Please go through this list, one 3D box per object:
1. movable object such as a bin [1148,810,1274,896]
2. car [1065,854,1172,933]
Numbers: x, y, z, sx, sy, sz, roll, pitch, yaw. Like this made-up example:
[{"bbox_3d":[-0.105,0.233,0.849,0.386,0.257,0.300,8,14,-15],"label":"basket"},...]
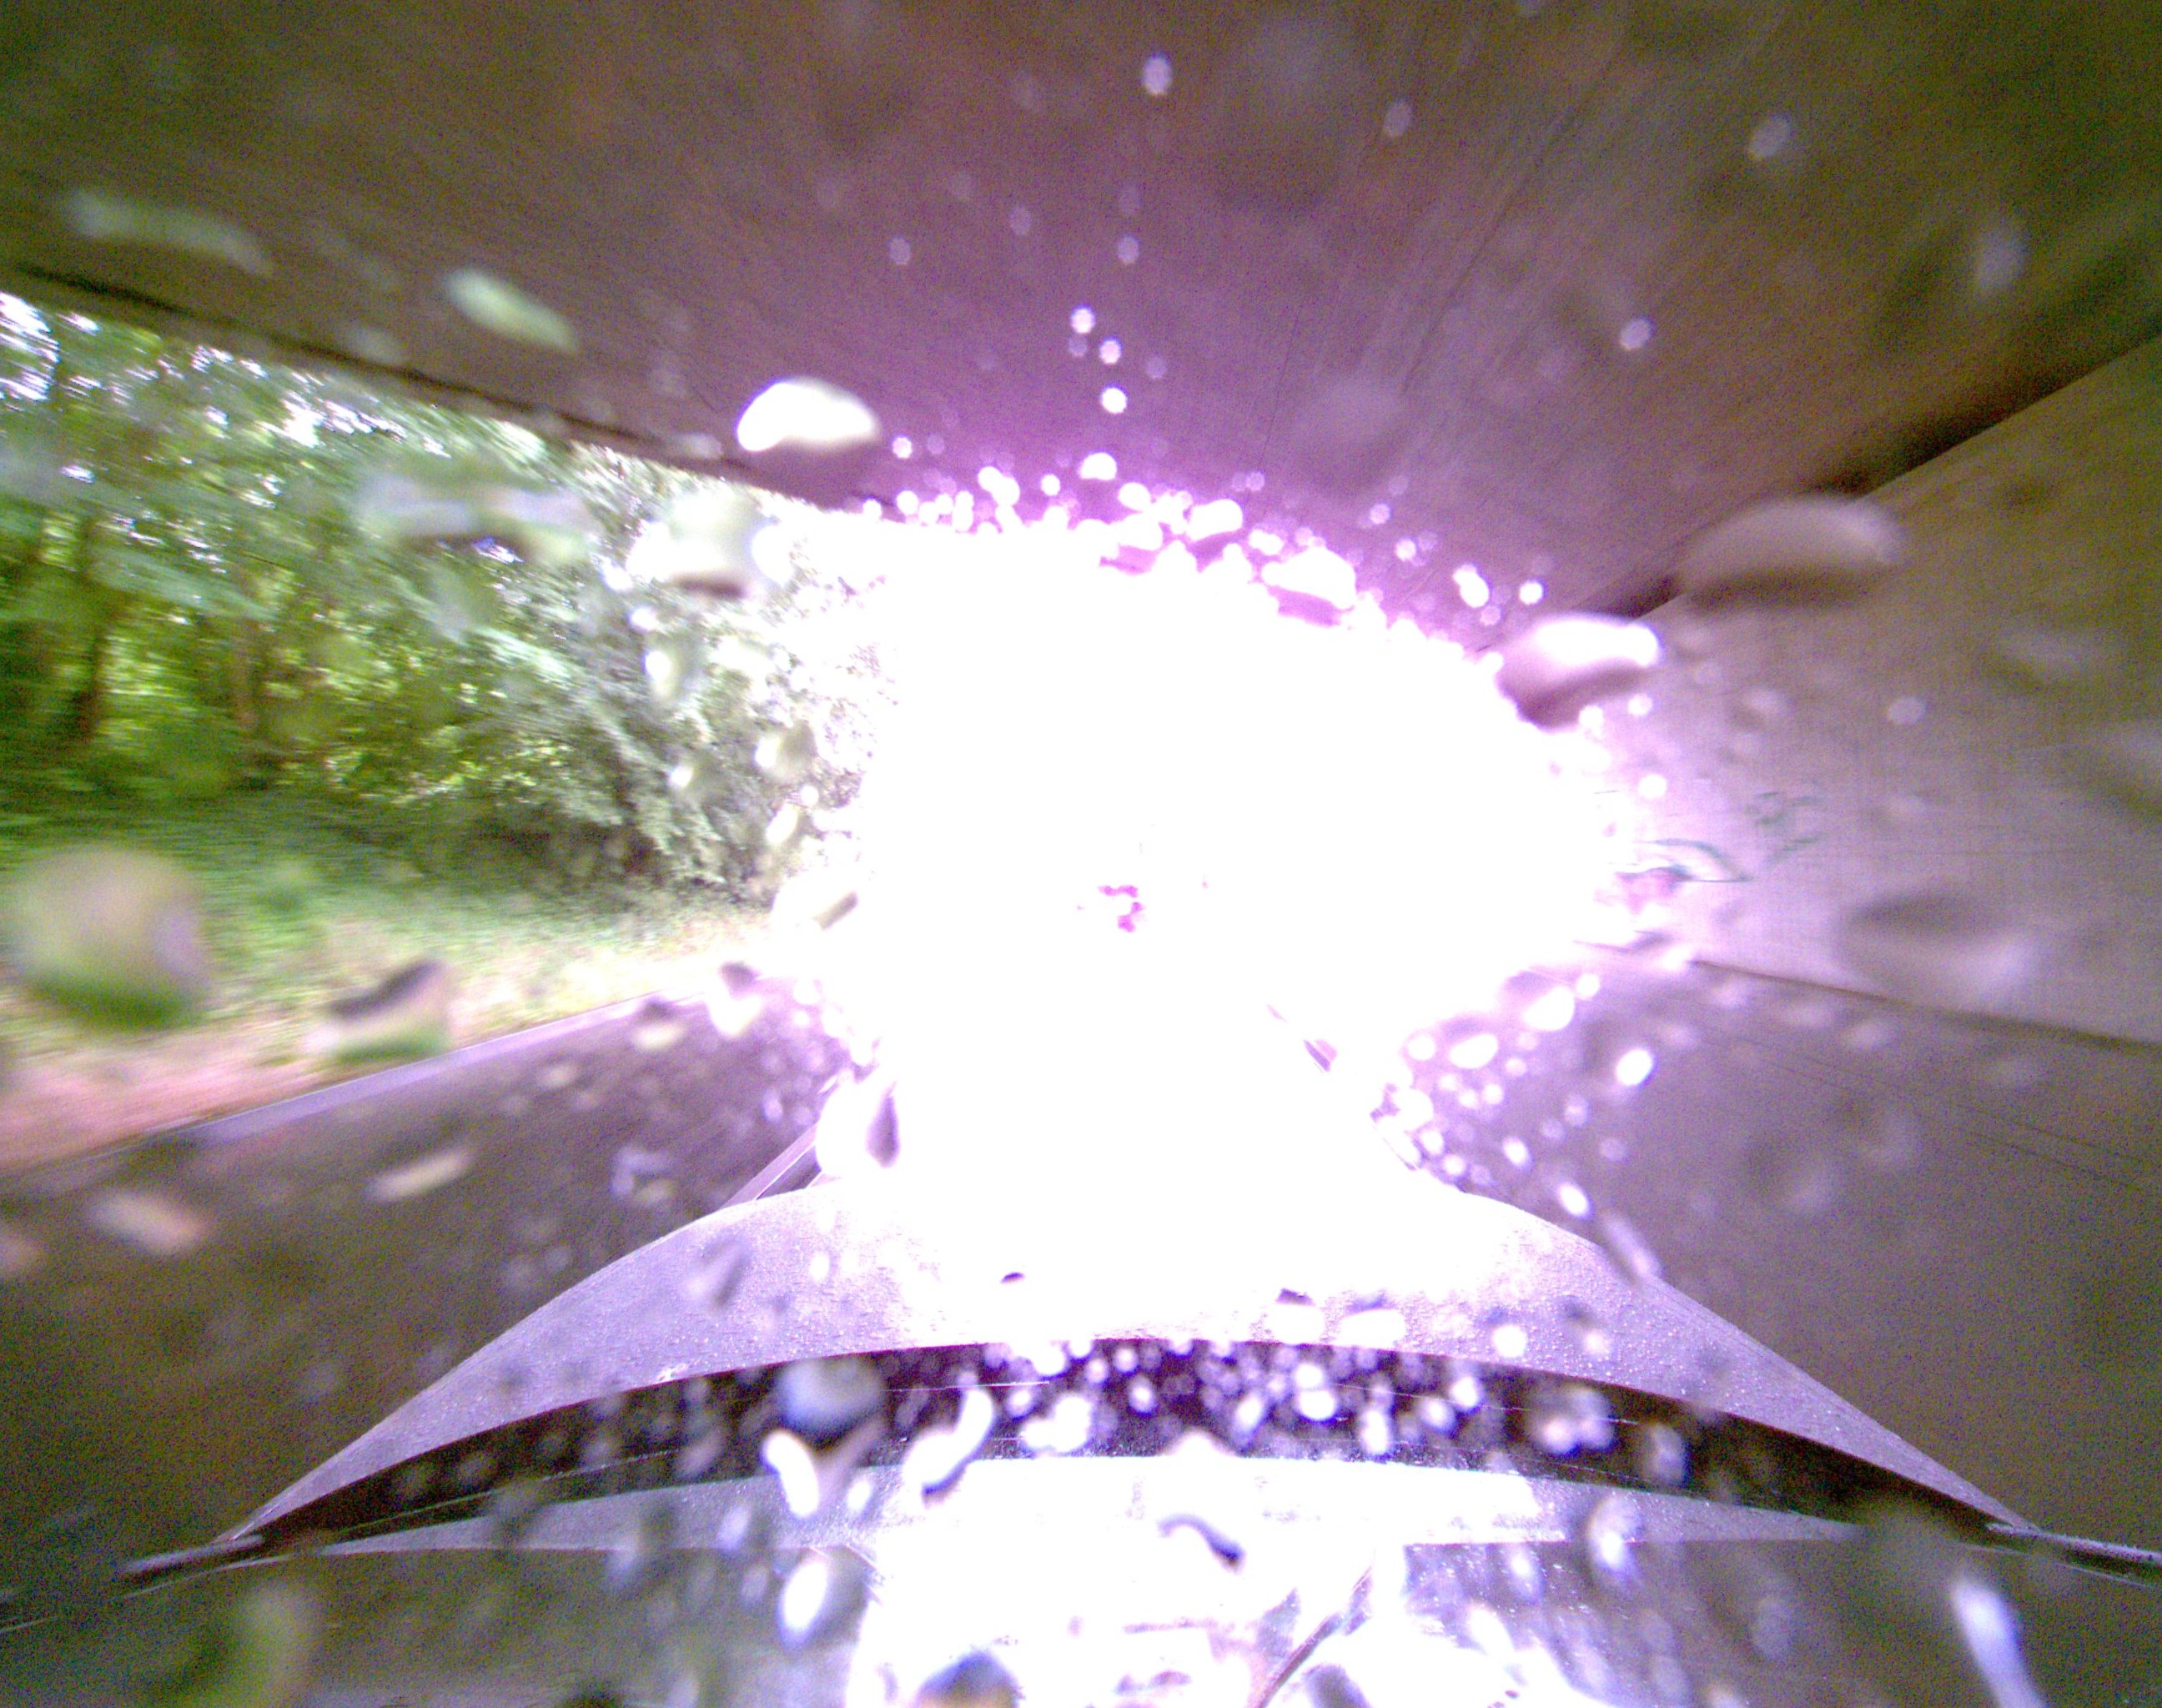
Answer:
[{"bbox_3d":[4.792,-0.029,28.798,2.224,2.669,6.667,0,0,29],"label":"movable object such as a bin"},{"bbox_3d":[0.668,0.756,17.391,1.988,1.487,3.997,0,0,-2],"label":"car"}]
